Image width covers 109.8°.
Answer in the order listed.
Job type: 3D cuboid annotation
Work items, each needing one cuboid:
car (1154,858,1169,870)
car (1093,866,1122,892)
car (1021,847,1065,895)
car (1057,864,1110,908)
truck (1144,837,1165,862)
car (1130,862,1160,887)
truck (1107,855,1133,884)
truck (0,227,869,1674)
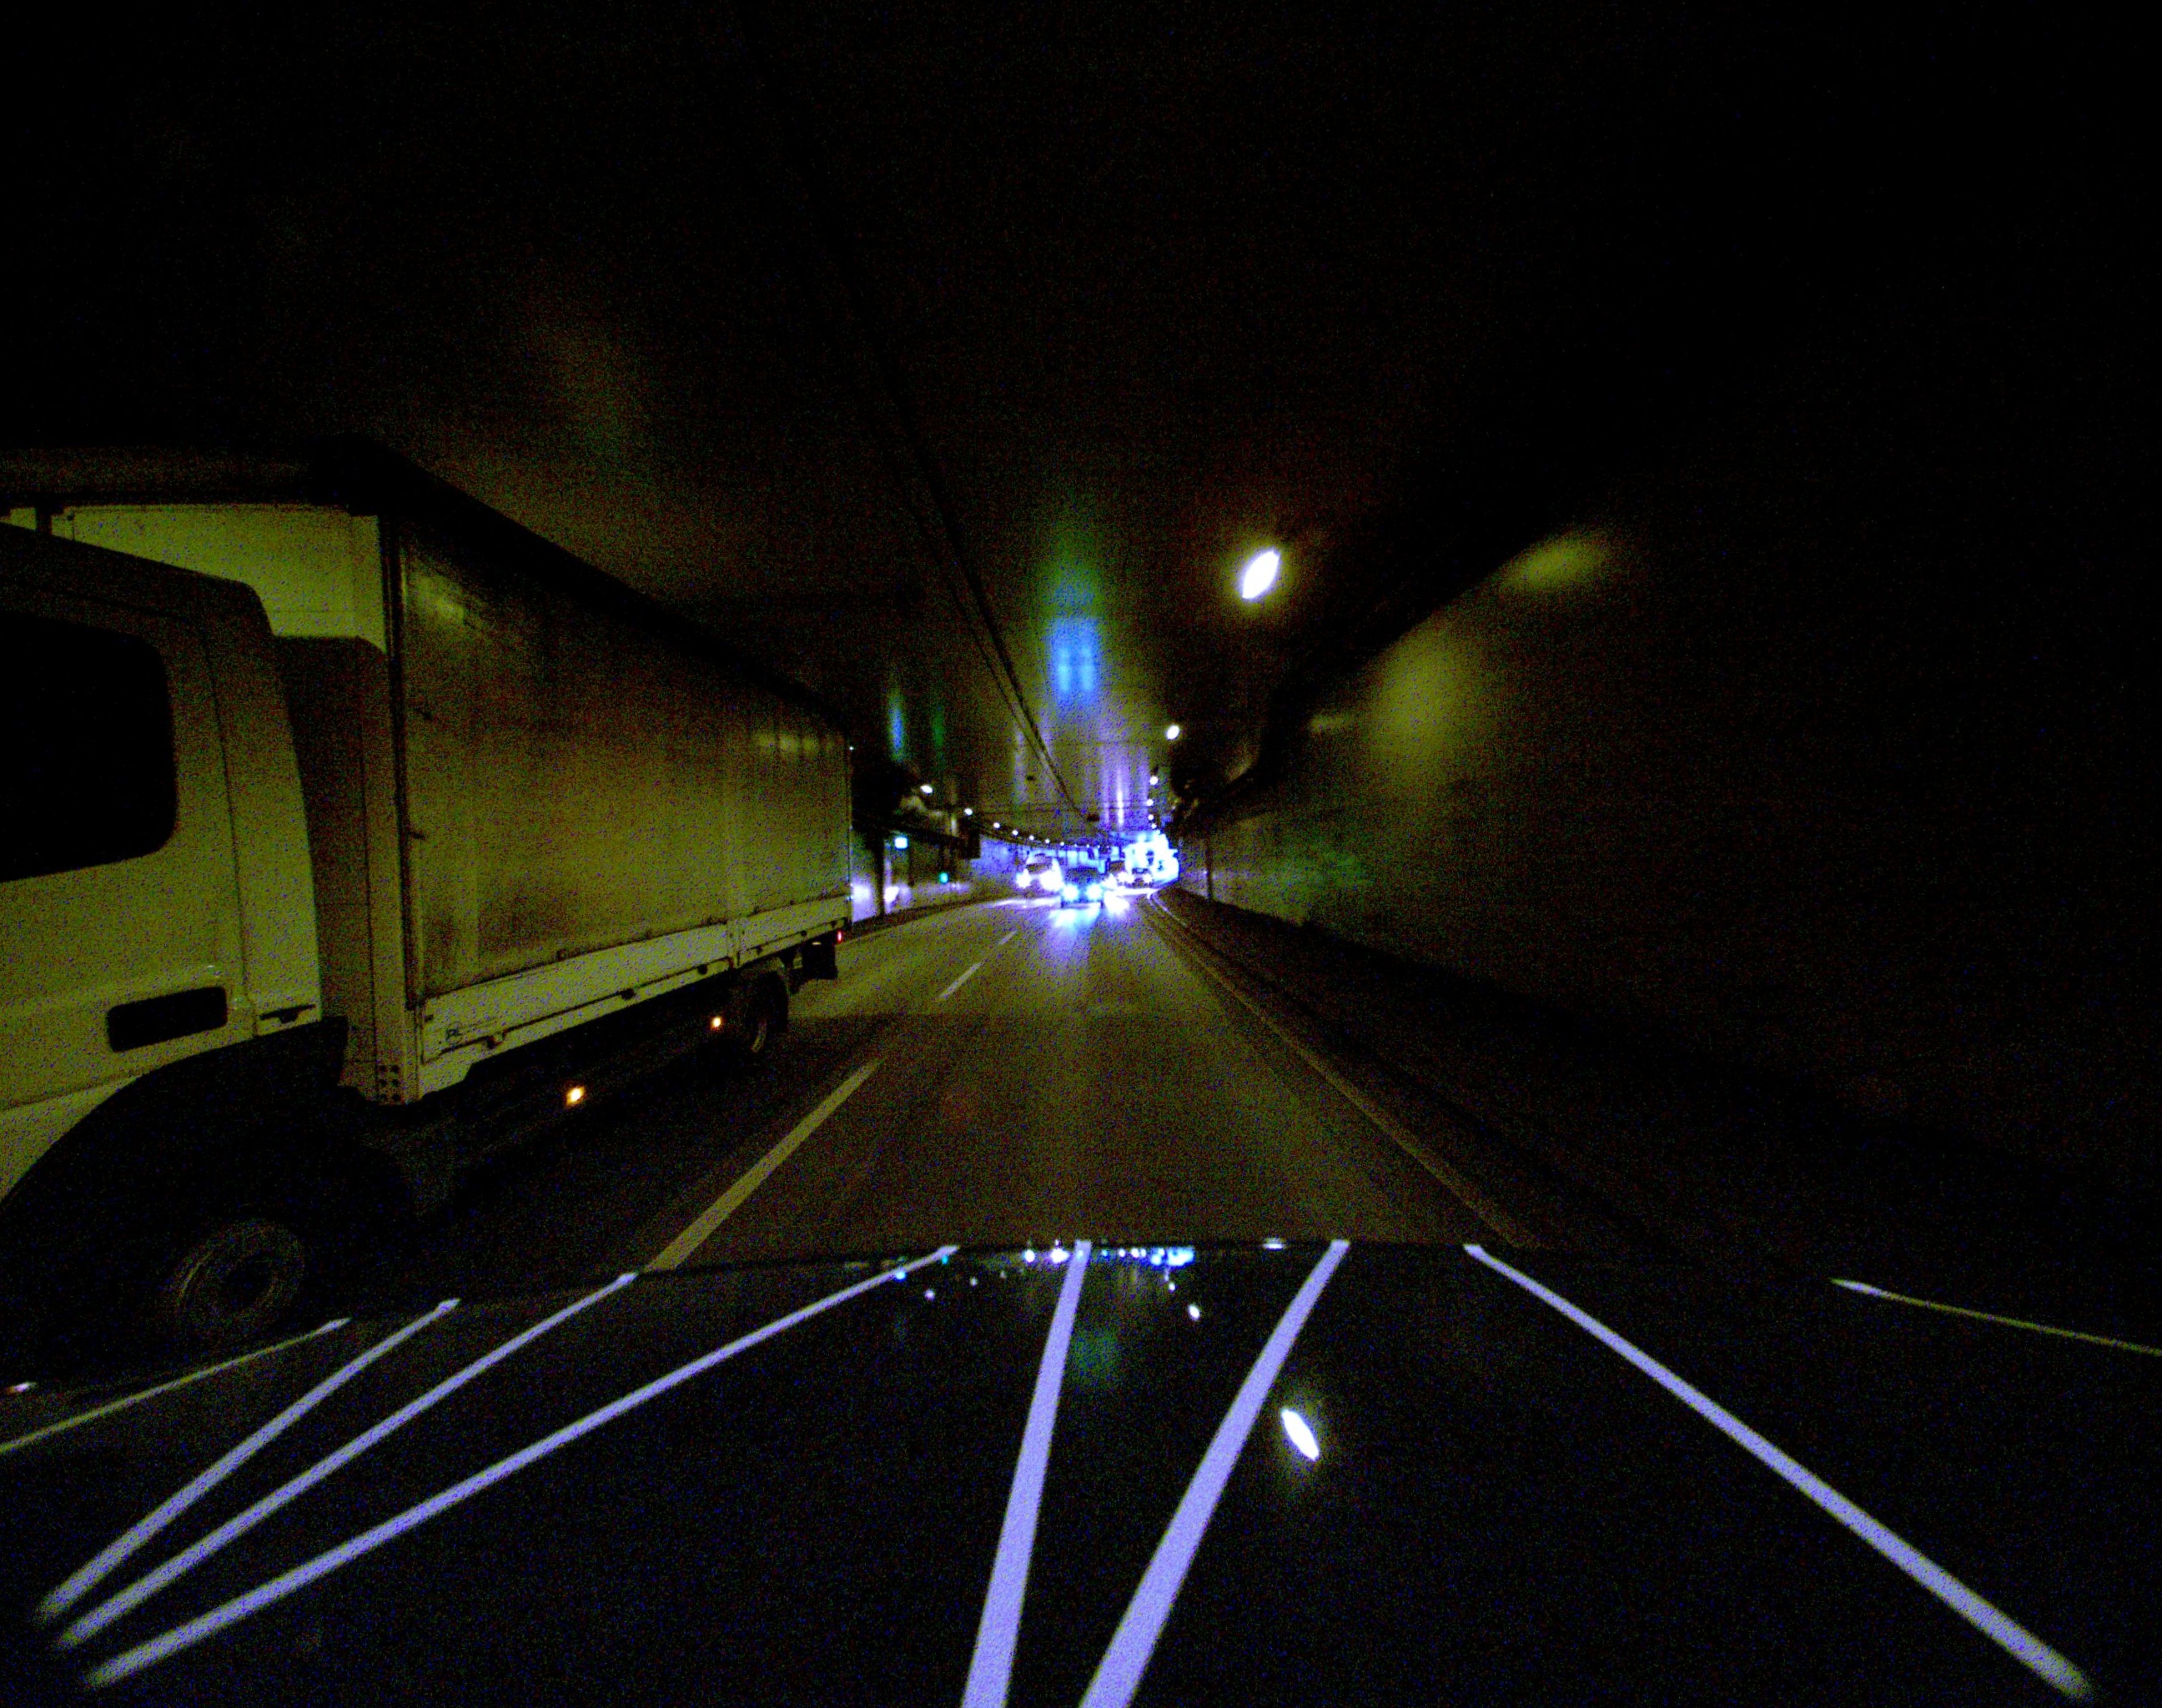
[{"bbox_3d":[13.713,1.726,129.540,1.949,1.525,4.001,-5,3,12],"label":"car"},{"bbox_3d":[1.997,1.833,57.038,1.763,1.552,3.819,-5,1,7],"label":"car"},{"bbox_3d":[-2.428,1.136,50.145,2.106,2.829,6.864,-3,-2,3],"label":"car"},{"bbox_3d":[0.160,1.212,29.662,1.638,1.551,3.718,-2,-1,6],"label":"car"},{"bbox_3d":[14.773,-0.981,151.314,2.885,4.447,10.457,-5,2,11],"label":"truck"},{"bbox_3d":[5.792,1.817,68.402,1.934,1.918,4.200,-5,0,13],"label":"car"},{"bbox_3d":[4.162,1.552,79.204,2.073,2.525,6.024,-5,2,7],"label":"truck"},{"bbox_3d":[-3.611,0.221,4.322,2.560,3.162,7.245,-2,0,1],"label":"truck"}]
